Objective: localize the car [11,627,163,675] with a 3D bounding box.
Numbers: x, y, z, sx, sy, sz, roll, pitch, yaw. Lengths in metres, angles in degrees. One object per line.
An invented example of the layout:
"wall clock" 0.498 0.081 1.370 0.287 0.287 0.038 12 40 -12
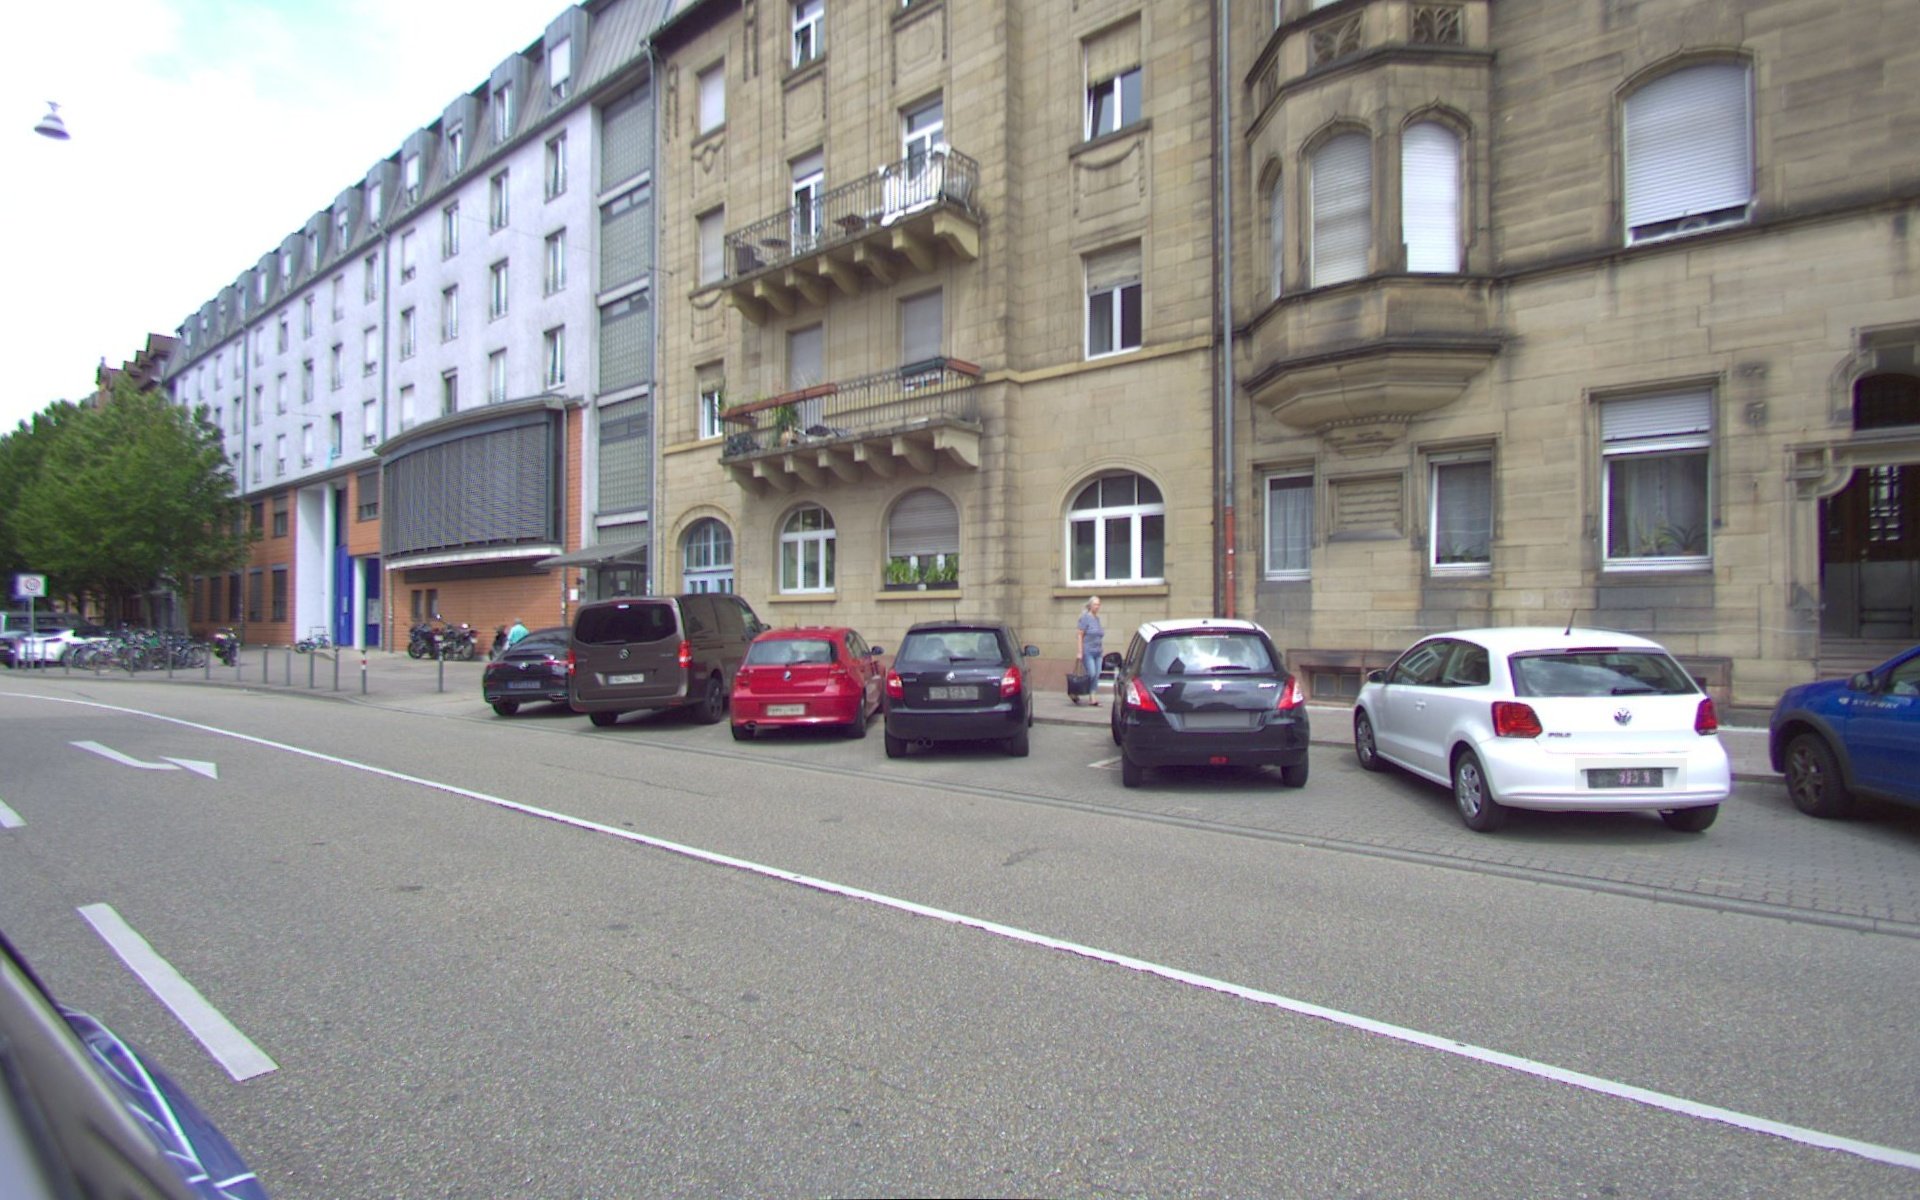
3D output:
"car" -30.314 1.727 35.290 1.583 1.557 3.997 -1 -2 7

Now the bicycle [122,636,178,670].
"bicycle" -26.273 1.712 32.849 0.402 1.034 1.390 -2 -2 43

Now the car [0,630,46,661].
"car" -47.088 2.214 49.090 1.671 1.465 3.996 -1 -2 7

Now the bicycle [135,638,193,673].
"bicycle" -24.916 1.713 31.684 0.402 1.034 1.390 -2 -2 43

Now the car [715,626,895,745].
"car" -1.991 1.075 14.110 1.772 1.420 4.009 0 -2 2

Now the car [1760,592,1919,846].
"car" 7.094 0.759 6.097 1.703 1.664 3.772 -1 -2 5

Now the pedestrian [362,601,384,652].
"pedestrian" -23.642 1.066 40.776 0.718 2.029 0.785 1 -2 -29

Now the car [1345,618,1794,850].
"car" 4.670 0.919 8.466 1.720 1.493 3.680 -1 -2 5

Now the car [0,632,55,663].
"car" -45.354 2.241 47.711 1.577 1.400 3.996 -1 -2 7

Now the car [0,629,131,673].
"car" -32.671 1.793 36.490 1.697 1.480 4.307 -1 -2 7

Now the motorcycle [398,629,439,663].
"motorcycle" -17.679 1.506 33.025 1.655 1.057 0.577 -2 -1 40

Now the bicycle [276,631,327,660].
"bicycle" -26.062 1.783 40.050 1.590 0.933 0.933 -6 2 -37

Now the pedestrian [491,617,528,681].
"pedestrian" -10.820 1.164 24.302 0.509 1.497 0.652 -2 -2 44

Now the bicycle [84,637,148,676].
"bicycle" -24.925 1.652 29.898 0.402 1.046 1.391 -2 0 43

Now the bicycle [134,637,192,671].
"bicycle" -25.238 1.703 32.054 0.402 1.034 1.390 -2 -2 43

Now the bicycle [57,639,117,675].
"bicycle" -27.931 1.807 32.402 0.402 1.034 1.391 -2 0 43

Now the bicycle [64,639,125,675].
"bicycle" -26.984 1.772 31.552 0.402 1.034 1.391 -2 0 43

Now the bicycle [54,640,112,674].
"bicycle" -28.533 1.843 32.939 0.402 1.034 1.391 -2 0 43

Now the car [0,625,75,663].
"car" -41.183 1.900 43.976 1.692 1.627 3.996 -1 -2 7

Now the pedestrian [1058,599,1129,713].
"pedestrian" 1.978 0.804 14.934 0.678 1.607 0.783 -2 0 41

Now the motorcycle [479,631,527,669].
"motorcycle" -13.091 1.426 28.978 1.793 1.057 0.577 -2 -1 42

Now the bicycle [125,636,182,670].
"bicycle" -25.908 1.687 32.530 0.402 1.034 1.390 -2 -2 43

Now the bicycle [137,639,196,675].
"bicycle" -24.528 1.754 31.312 0.402 1.034 1.390 -2 -2 43

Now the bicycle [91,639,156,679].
"bicycle" -24.240 1.690 29.325 0.402 1.046 1.391 -2 0 43

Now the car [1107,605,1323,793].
"car" 2.468 0.893 10.631 1.776 1.576 4.001 -1 -2 9

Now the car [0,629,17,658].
"car" -53.184 2.359 54.071 1.671 1.580 3.996 -1 -2 7

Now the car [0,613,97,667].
"car" -37.054 1.558 40.168 1.841 2.013 3.993 -1 0 10

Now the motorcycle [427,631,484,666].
"motorcycle" -15.745 1.510 31.567 1.959 1.057 0.579 -2 -1 30

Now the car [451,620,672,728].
"car" -6.758 1.183 17.795 1.874 1.420 4.669 -2 1 2

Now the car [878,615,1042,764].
"car" 0.150 0.976 12.447 1.611 1.514 3.989 -1 -2 6

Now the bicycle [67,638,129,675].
"bicycle" -26.501 1.726 31.131 0.402 1.046 1.391 -2 0 43

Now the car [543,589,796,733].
"car" -4.377 0.895 16.336 2.096 1.924 5.260 -1 -2 7

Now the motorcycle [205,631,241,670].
"motorcycle" -23.174 1.580 31.826 1.779 1.181 0.577 -2 -1 43

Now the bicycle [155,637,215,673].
"bicycle" -23.463 1.655 30.647 0.402 1.034 1.390 -2 -2 43

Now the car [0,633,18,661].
"car" -55.167 2.640 56.224 1.671 1.580 3.996 -1 -2 7
